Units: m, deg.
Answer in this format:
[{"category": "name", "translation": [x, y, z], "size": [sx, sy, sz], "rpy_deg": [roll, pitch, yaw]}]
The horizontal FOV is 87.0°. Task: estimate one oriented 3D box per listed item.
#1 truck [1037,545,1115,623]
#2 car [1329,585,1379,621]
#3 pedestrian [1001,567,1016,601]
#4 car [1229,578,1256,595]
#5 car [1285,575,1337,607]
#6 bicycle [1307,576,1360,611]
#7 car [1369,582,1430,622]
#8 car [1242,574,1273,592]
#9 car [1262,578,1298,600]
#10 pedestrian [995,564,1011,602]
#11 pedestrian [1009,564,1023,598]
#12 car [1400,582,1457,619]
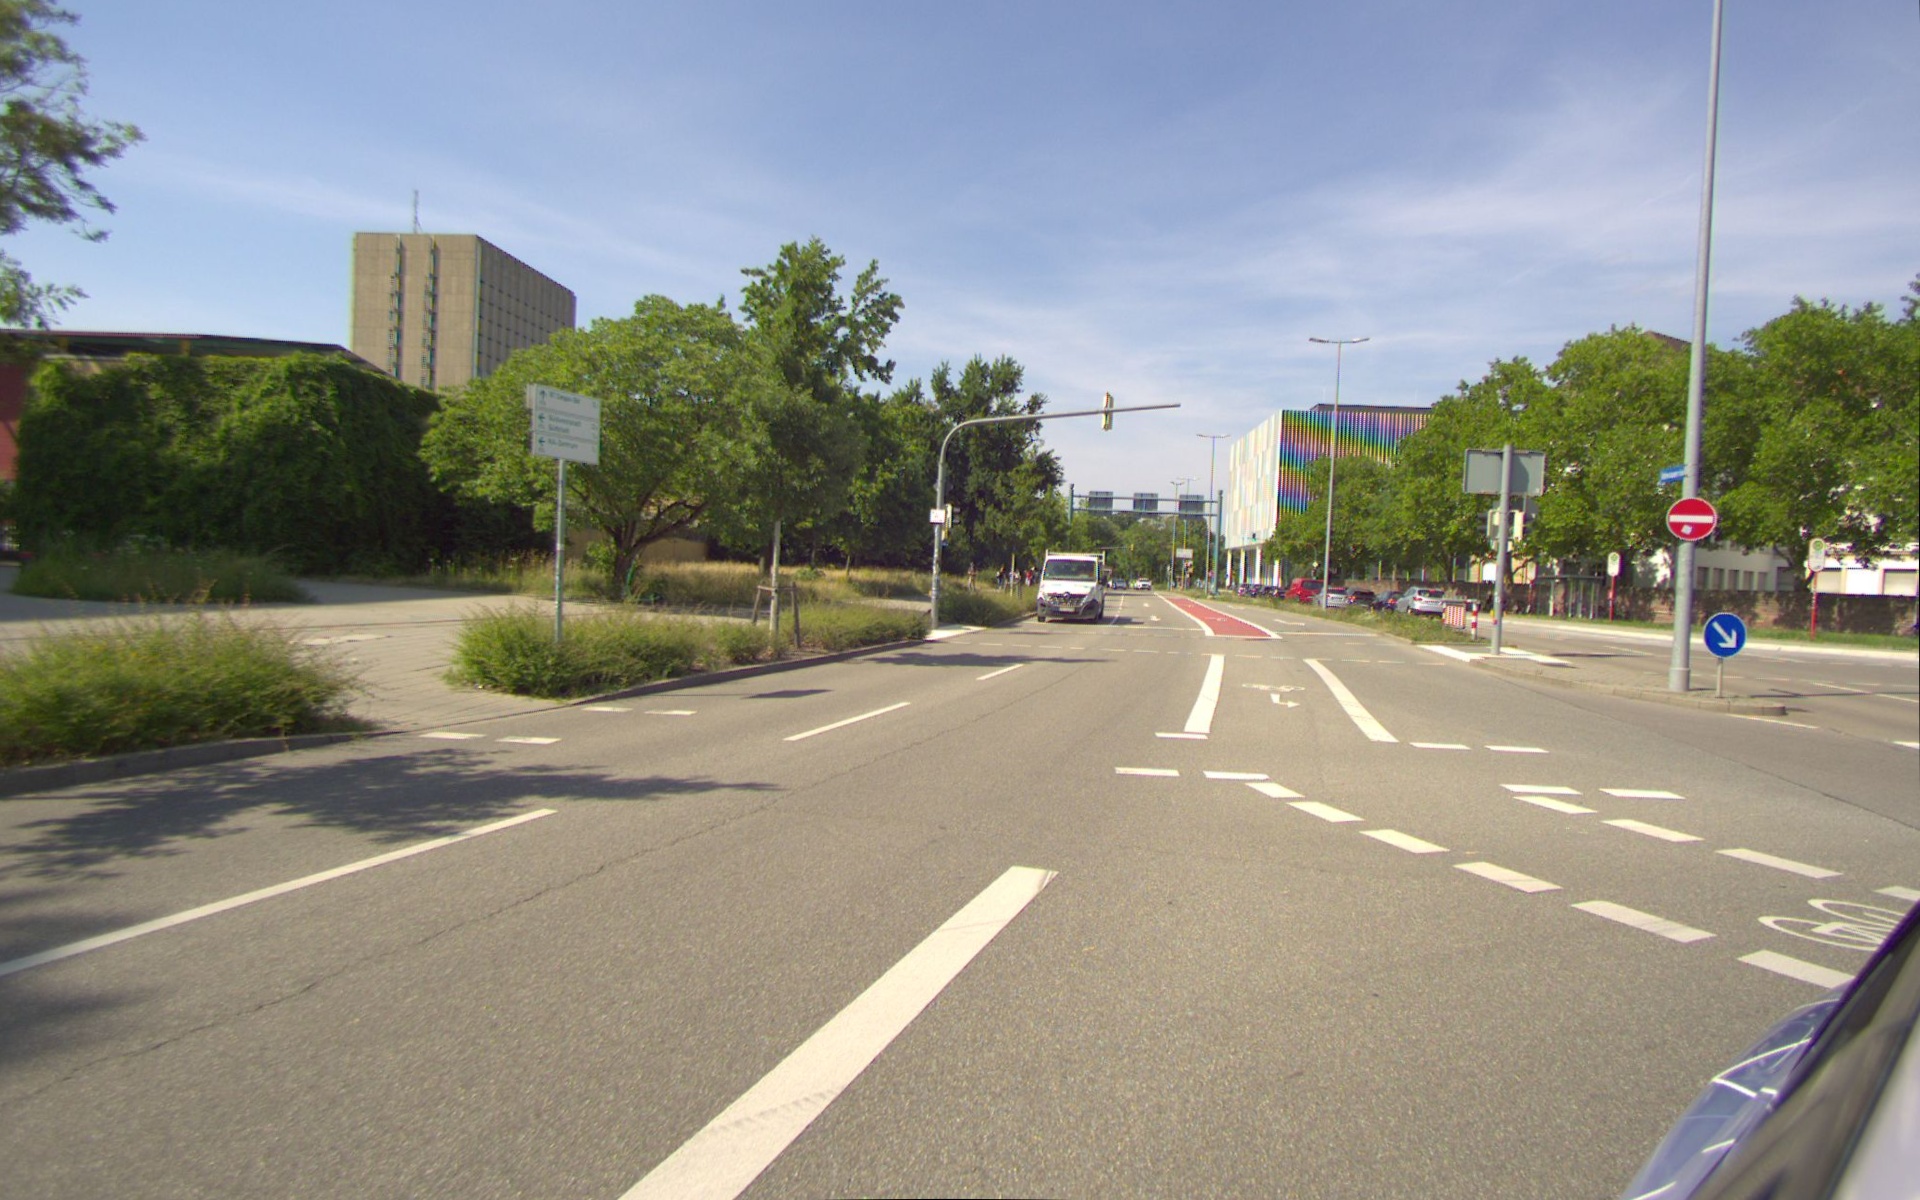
[{"category": "truck", "translation": [4.046, -0.633, 35.219], "size": [2.372, 2.384, 7.036], "rpy_deg": [1, 2, 7]}, {"category": "car", "translation": [24.531, 0.203, 63.097], "size": [1.967, 2.039, 3.990], "rpy_deg": [3, -1, 8]}, {"category": "pedestrian", "translation": [3.692, -1.229, 77.312], "size": [0.938, 2.566, 1.121], "rpy_deg": [3, -1, 7]}, {"category": "car", "translation": [27.680, -1.319, 99.203], "size": [1.768, 1.529, 3.996], "rpy_deg": [1, 2, 4]}, {"category": "car", "translation": [22.188, -0.625, 64.199], "size": [1.945, 1.819, 4.606], "rpy_deg": [3, 2, 5]}, {"category": "bicycle", "translation": [21.375, -0.423, 58.093], "size": [1.967, 1.837, 3.992], "rpy_deg": [3, 2, 8]}, {"category": "car", "translation": [24.176, 0.124, 55.824], "size": [1.967, 2.039, 3.990], "rpy_deg": [3, -1, 8]}, {"category": "car", "translation": [25.783, -1.513, 87.767], "size": [1.768, 1.529, 3.996], "rpy_deg": [1, 2, 4]}, {"category": "car", "translation": [23.688, -0.856, 74.936], "size": [1.769, 1.529, 3.994], "rpy_deg": [1, 2, 6]}, {"category": "pedestrian", "translation": [3.027, -1.193, 71.469], "size": [0.938, 2.566, 1.121], "rpy_deg": [3, -1, 7]}, {"category": "pedestrian", "translation": [4.399, -1.503, 79.237], "size": [0.938, 2.566, 1.121], "rpy_deg": [3, -1, 7]}, {"category": "car", "translation": [23.142, -0.017, 50.169], "size": [1.686, 1.638, 4.200], "rpy_deg": [3, 2, 14]}]
